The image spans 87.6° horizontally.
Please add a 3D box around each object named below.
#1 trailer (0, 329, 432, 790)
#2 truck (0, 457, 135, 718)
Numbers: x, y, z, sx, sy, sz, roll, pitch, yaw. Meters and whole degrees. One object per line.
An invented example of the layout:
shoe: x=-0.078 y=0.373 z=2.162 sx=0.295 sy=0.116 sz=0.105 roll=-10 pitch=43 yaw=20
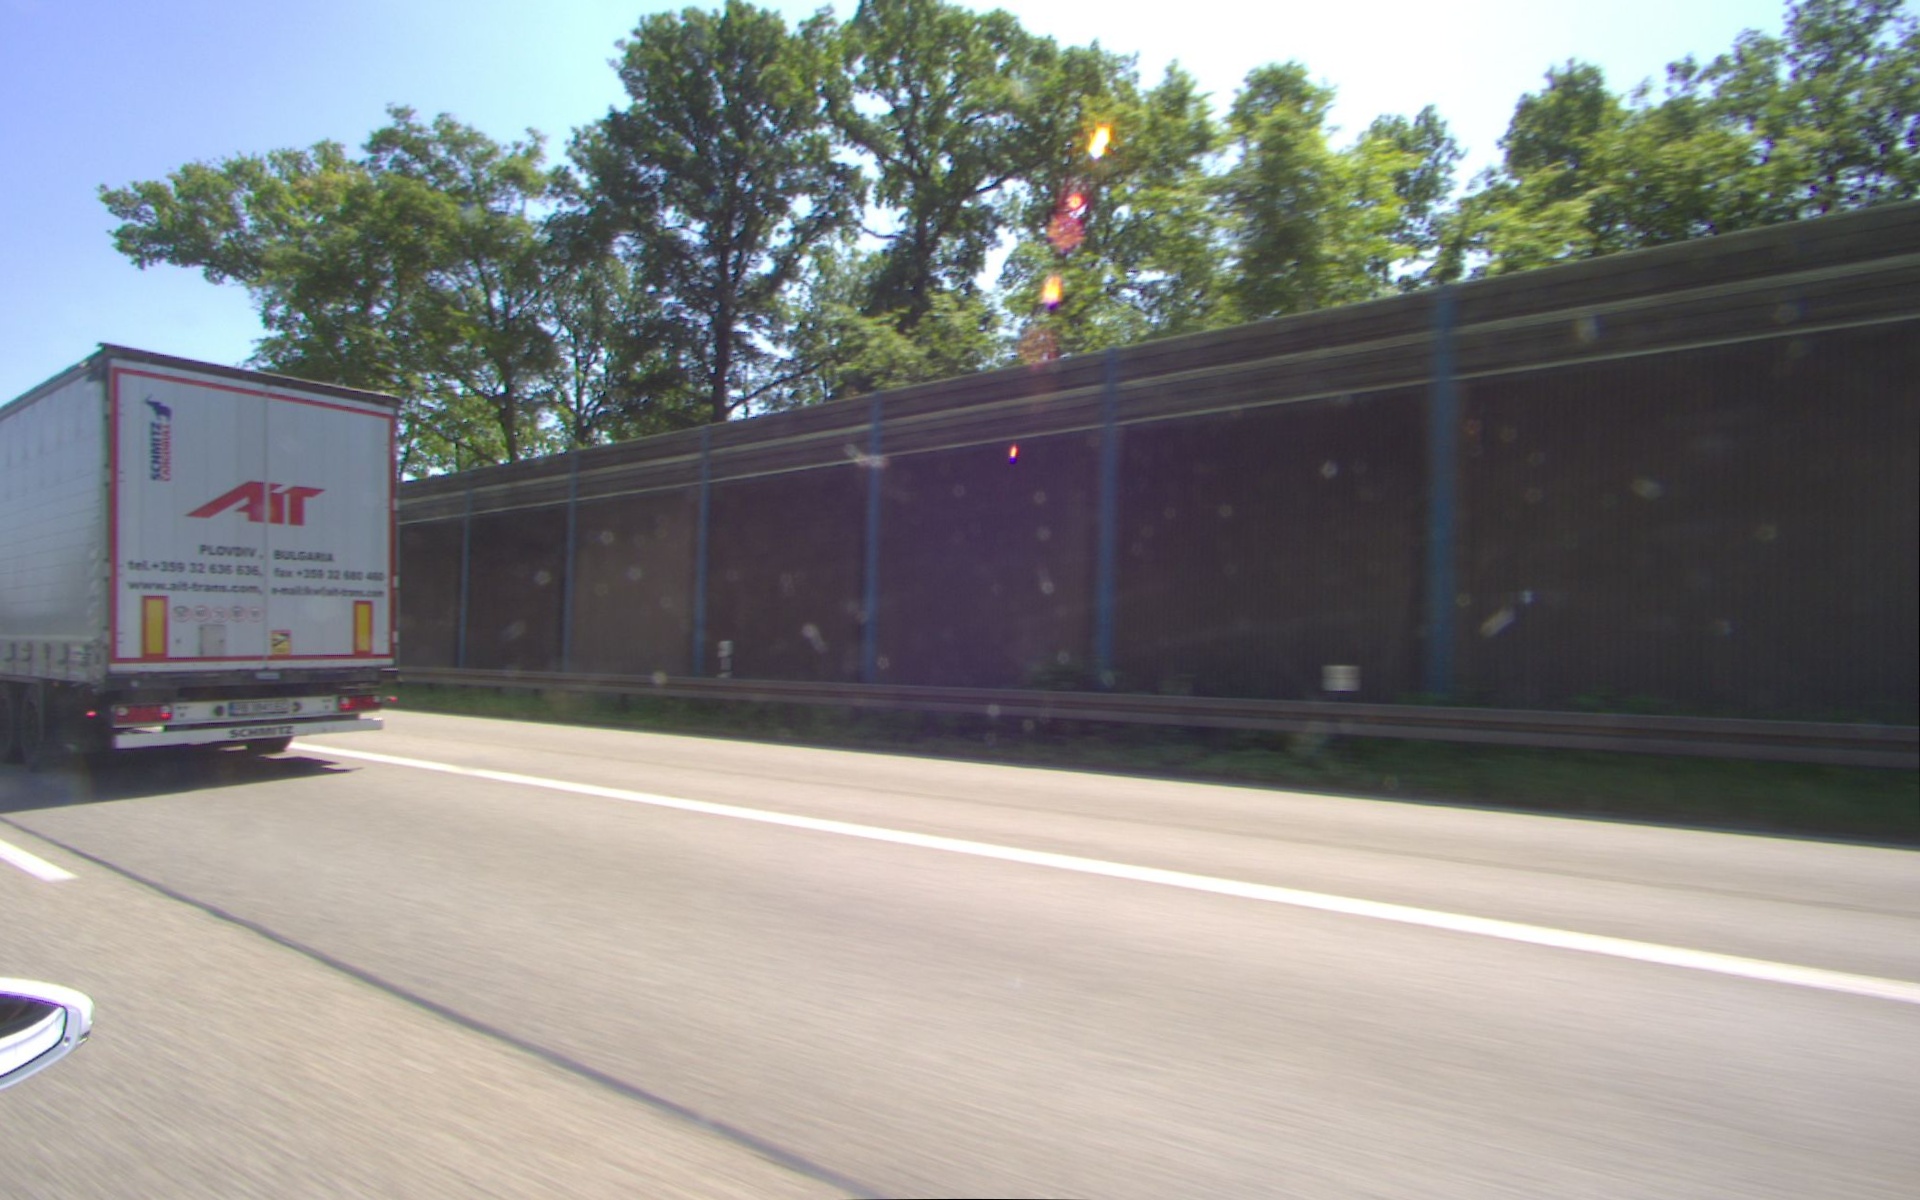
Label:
trailer: x=-12.243 y=-0.188 z=14.067 sx=13.615 sy=4.090 sz=2.877 roll=-1 pitch=-2 yaw=36
truck: x=-17.689 y=-0.137 z=18.093 sx=5.907 sy=4.199 sz=2.878 roll=-1 pitch=-1 yaw=36
